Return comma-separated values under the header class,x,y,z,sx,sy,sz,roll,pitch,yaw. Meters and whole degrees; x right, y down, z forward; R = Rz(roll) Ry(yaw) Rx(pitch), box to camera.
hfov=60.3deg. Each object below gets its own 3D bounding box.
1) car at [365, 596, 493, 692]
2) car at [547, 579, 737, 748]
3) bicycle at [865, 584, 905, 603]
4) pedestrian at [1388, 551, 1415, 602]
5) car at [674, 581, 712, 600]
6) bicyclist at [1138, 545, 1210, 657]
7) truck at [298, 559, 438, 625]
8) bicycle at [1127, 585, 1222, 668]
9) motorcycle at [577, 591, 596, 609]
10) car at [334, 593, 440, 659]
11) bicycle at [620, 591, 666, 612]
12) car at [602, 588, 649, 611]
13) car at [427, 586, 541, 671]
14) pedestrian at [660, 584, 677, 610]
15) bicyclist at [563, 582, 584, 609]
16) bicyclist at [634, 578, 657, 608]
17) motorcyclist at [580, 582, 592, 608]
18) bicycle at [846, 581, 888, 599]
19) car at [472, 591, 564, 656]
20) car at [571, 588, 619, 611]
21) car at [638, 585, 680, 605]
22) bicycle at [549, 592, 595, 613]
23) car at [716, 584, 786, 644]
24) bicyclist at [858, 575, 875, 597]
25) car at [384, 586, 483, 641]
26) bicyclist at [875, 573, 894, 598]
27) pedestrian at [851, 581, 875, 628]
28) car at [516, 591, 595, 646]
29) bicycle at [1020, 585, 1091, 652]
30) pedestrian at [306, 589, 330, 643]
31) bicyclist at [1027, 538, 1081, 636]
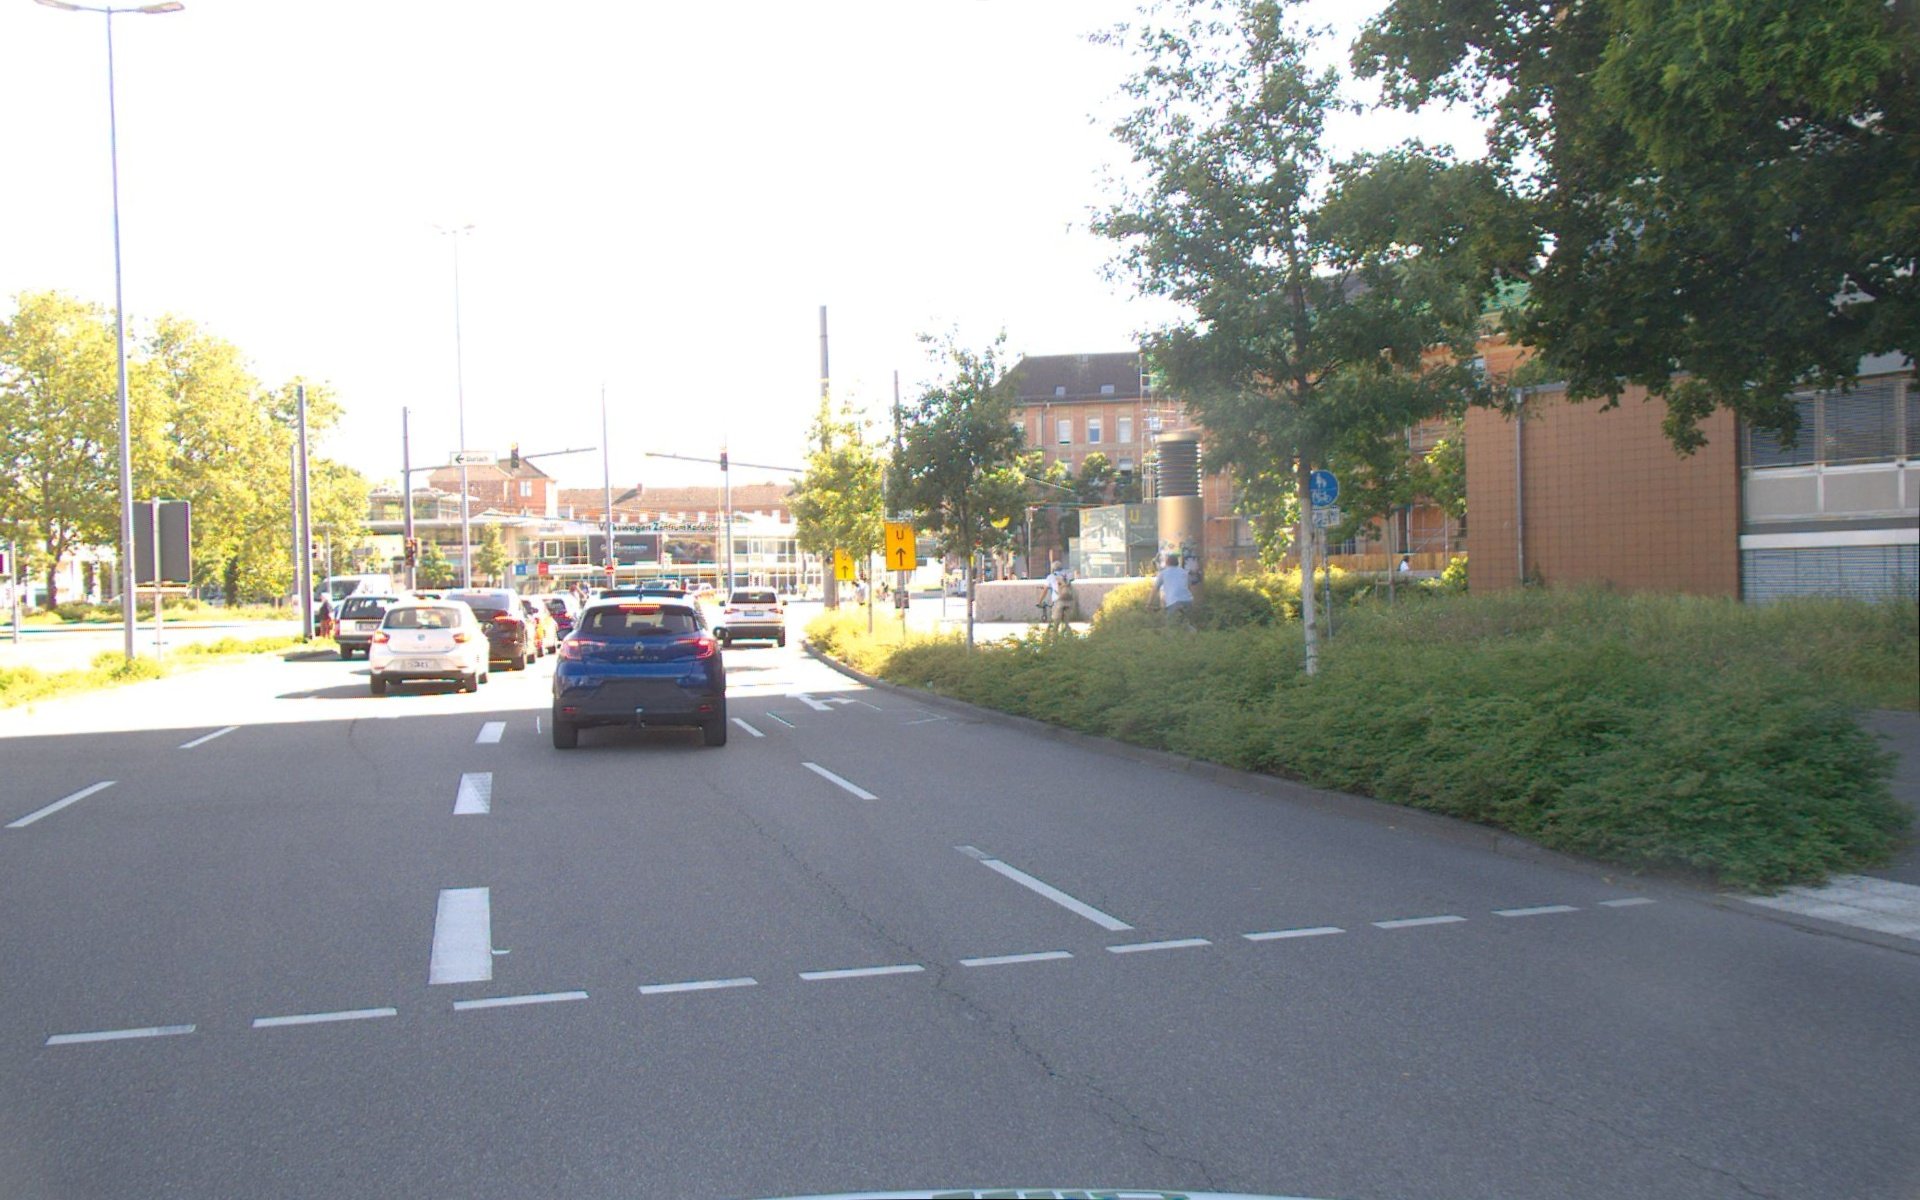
class,x,y,z,sx,sy,sz,roll,pitch,yaw
car,-8.727,0.680,27.422,1.662,1.461,3.724,0,0,-13
car,-3.480,0.655,18.228,1.843,1.646,3.787,0,-1,-11
bicycle,-5.157,-0.452,113.308,2.613,1.209,0.940,-1,3,-25
pedestrian,15.823,-0.853,59.280,0.532,1.782,0.780,-2,3,-34
car,-21.464,-0.727,133.128,1.688,1.467,4.188,1,0,11
bicyclist,3.243,0.005,25.102,0.708,1.645,0.973,-2,1,-18
truck,-22.867,-0.336,64.301,2.167,2.354,6.889,-1,1,7
bicycle,3.237,0.382,25.142,0.705,1.185,1.861,-2,1,-17
motorcycle,-24.093,-0.027,106.734,0.550,1.113,1.837,-1,0,7
car,-13.585,0.582,39.396,1.693,1.467,3.791,1,0,-8
bicycle,-19.391,0.092,101.252,2.622,1.209,0.937,-2,3,-33
car,-22.556,-0.072,111.679,1.688,1.467,4.188,-1,1,11
car,-9.858,0.550,34.550,1.949,1.652,4.365,0,0,-12
pedestrian,-18.754,-0.207,106.409,0.688,1.639,0.851,1,3,27
bicyclist,-23.575,-0.269,100.902,1.049,1.611,0.940,-1,3,-25
bicyclist,-19.270,-0.450,101.327,1.173,1.807,0.937,-2,3,-33
motorcyclist,-24.107,-0.304,106.658,0.538,1.649,0.745,-1,0,7
bicycle,-6.117,-0.649,108.784,2.597,1.114,0.966,-1,0,-13
car,-10.767,0.542,40.529,1.640,1.467,3.716,1,0,-7
car,-25.003,-0.042,113.418,1.688,1.467,4.188,-1,1,11
car,-22.887,-0.406,125.930,1.688,1.467,4.188,1,0,11
bicycle,-23.641,0.148,100.876,2.613,1.209,0.940,-1,3,-25
car,-5.919,0.383,47.263,1.840,1.646,3.621,0,0,-5
bicyclist,-6.155,-0.920,108.773,0.945,1.474,0.966,-1,0,-13
car,-14.779,0.355,46.599,1.691,1.467,3.907,1,0,-3
bicyclist,-5.179,-0.989,113.267,1.049,1.611,0.940,-1,3,-25
pedestrian,-3.726,0.182,63.606,0.582,1.753,0.870,-2,-2,24
car,-11.401,0.502,46.793,1.692,1.467,3.793,1,0,-7
bicycle,1.773,0.330,30.931,0.734,1.185,1.862,-2,1,-16
pedestrian,-20.266,0.503,52.214,0.567,1.639,0.562,-2,3,-35
bicyclist,1.754,-0.251,30.953,0.708,1.793,0.974,-2,1,-16
